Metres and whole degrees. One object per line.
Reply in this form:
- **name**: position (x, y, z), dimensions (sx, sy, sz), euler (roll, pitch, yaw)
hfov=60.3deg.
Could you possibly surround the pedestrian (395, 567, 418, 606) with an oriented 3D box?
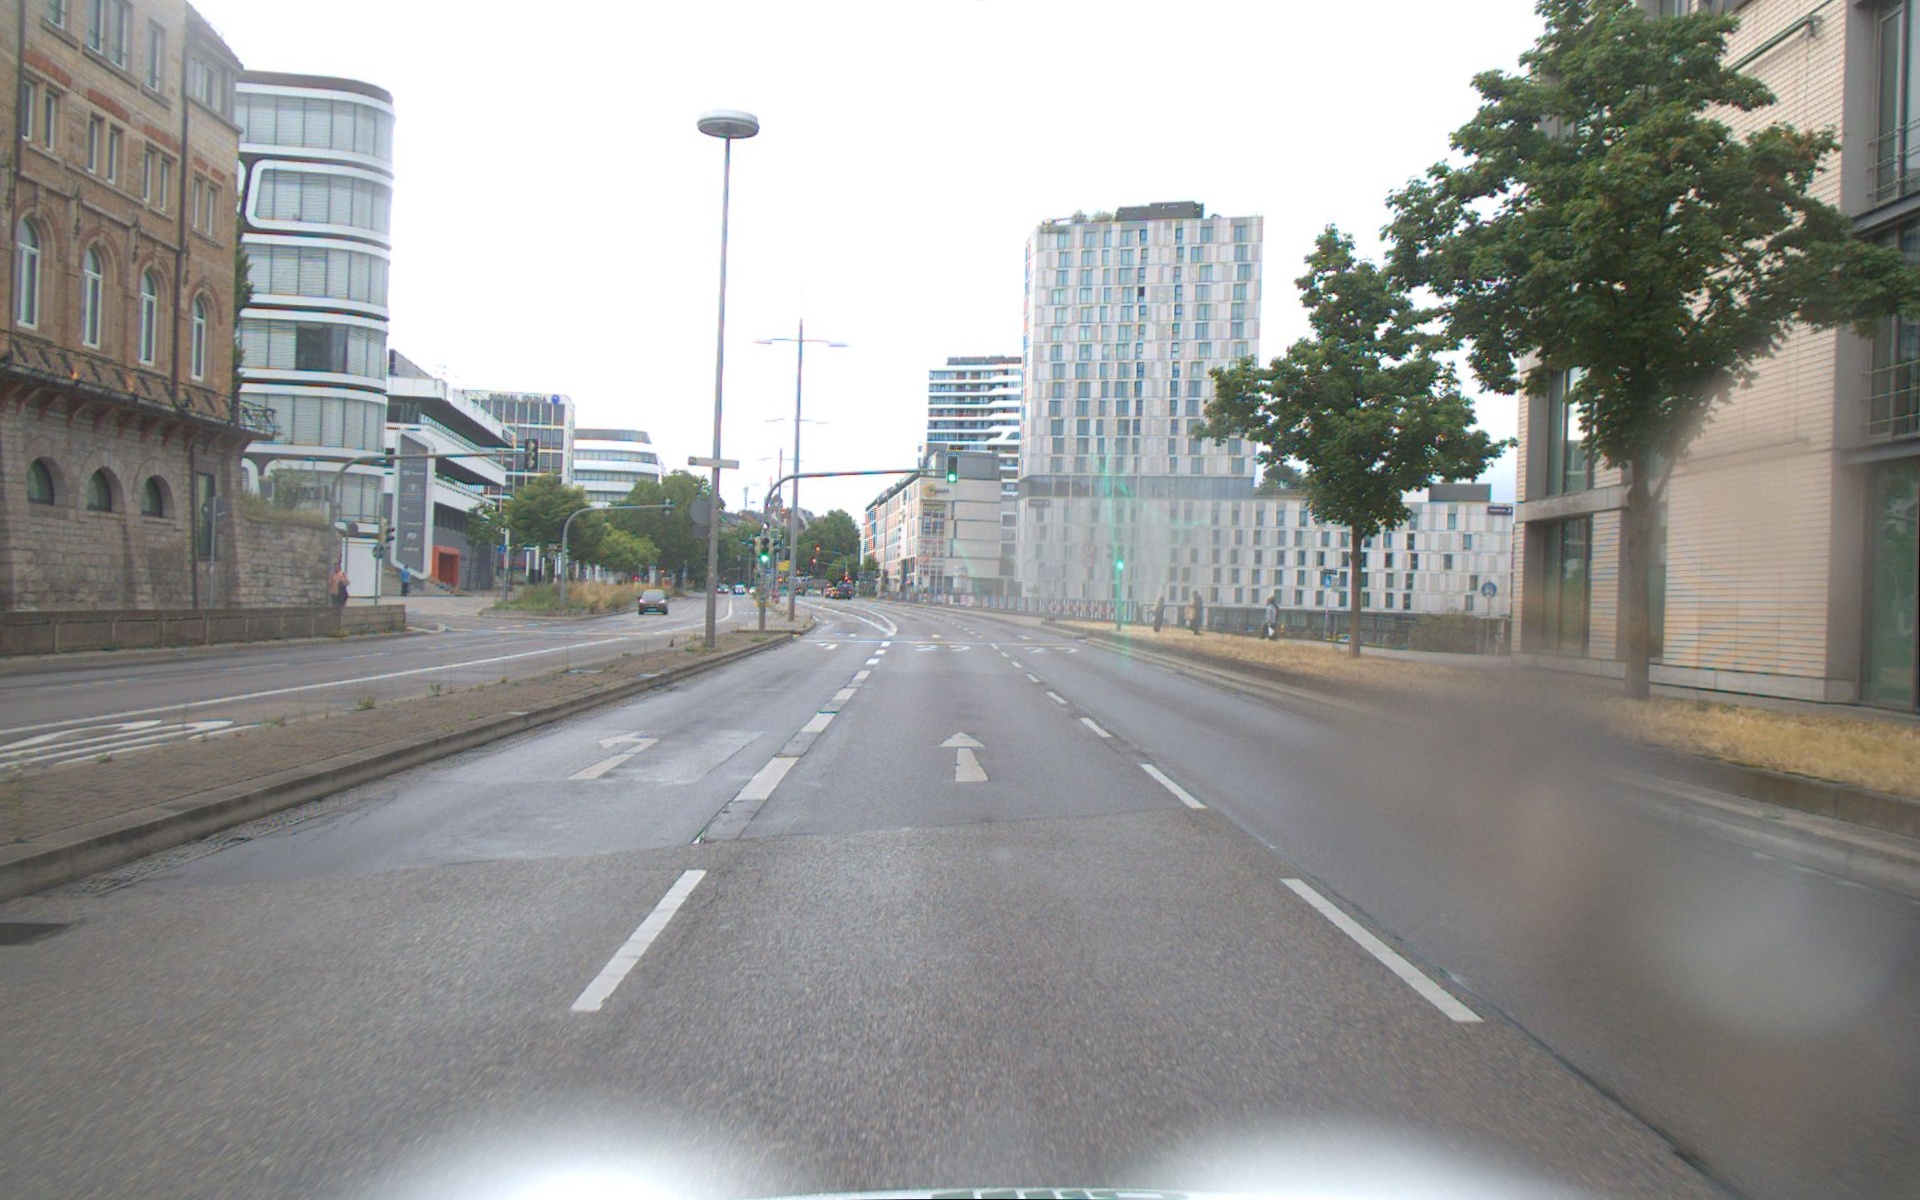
- **pedestrian**: position (-29.984, -0.735, 89.551), dimensions (1.009, 2.048, 0.715), euler (0, 1, -2)

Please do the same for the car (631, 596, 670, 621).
- **car**: position (-18.355, 0.505, 98.347), dimensions (1.713, 1.432, 3.723), euler (1, 0, -2)

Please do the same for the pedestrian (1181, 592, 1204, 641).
- **pedestrian**: position (7.851, 0.542, 55.818), dimensions (0.540, 1.605, 0.669), euler (1, 2, 33)

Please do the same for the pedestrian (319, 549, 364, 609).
- **pedestrian**: position (-19.755, -0.688, 52.815), dimensions (0.865, 1.899, 1.058), euler (1, 2, 33)

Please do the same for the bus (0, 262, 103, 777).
- **bus**: position (-7.970, -0.529, 7.990), dimensions (2.644, 3.621, 10.091), euler (0, 1, -2)

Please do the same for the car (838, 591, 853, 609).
- **car**: position (-15.951, 0.051, 230.703), dimensions (1.953, 2.384, 3.998), euler (-3, 0, -2)

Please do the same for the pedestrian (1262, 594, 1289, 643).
- **pedestrian**: position (10.648, 0.614, 55.833), dimensions (0.657, 1.605, 0.666), euler (1, 2, 36)

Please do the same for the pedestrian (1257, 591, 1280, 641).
- **pedestrian**: position (10.251, 0.523, 54.910), dimensions (0.540, 1.605, 0.669), euler (1, 2, 33)

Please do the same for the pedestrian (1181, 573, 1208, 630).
- **pedestrian**: position (7.895, 0.041, 55.646), dimensions (0.542, 1.873, 0.777), euler (2, 2, 45)
